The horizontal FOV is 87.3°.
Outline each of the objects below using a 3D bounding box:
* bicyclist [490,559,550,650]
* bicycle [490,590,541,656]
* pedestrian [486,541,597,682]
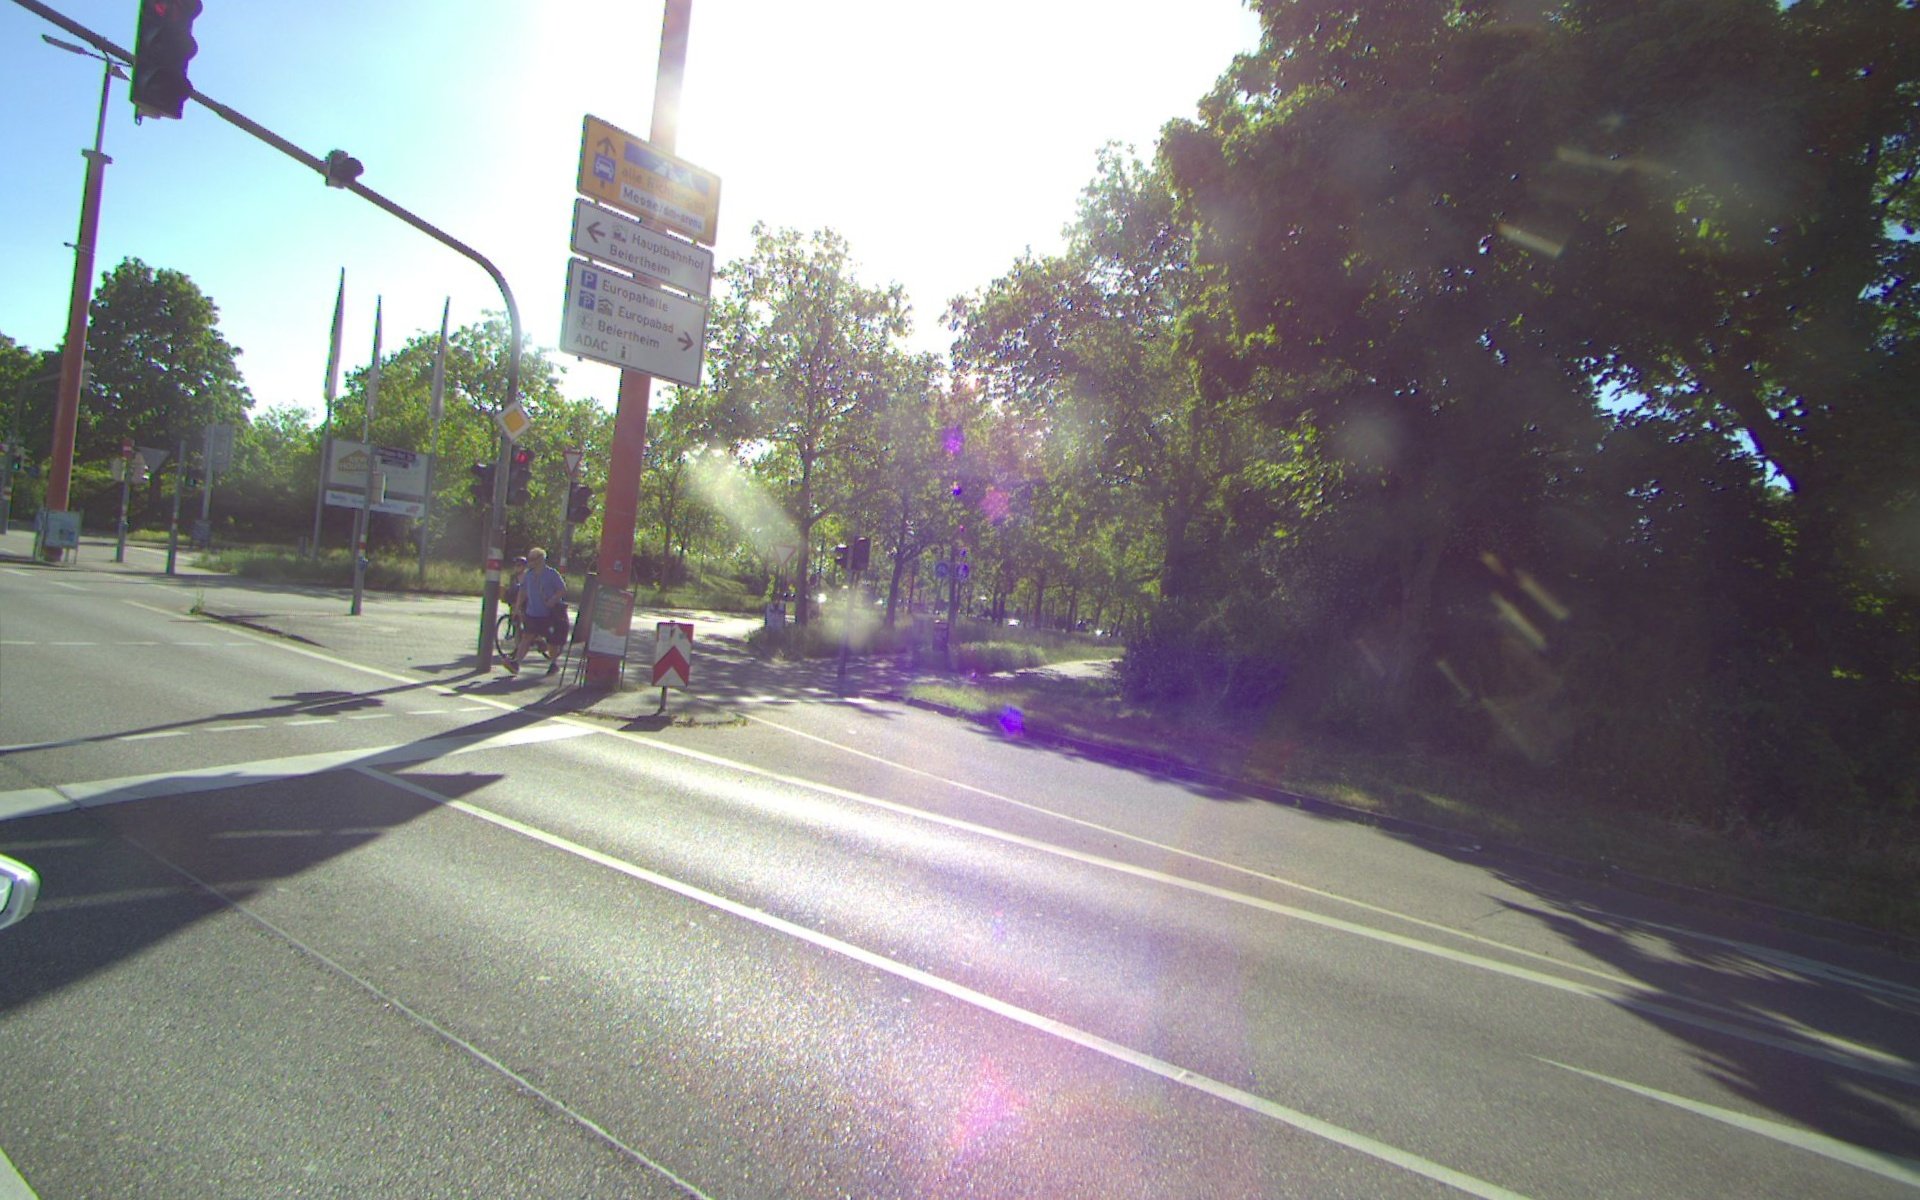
[{"bbox_3d":[-7.046,0.065,16.144,0.698,1.358,0.738,7,0,-20],"label":"bicyclist"},{"bbox_3d":[-7.130,0.345,16.211,0.552,0.889,2.158,7,-1,-21],"label":"bicycle"},{"bbox_3d":[-5.845,0.176,14.083,0.883,1.810,0.894,7,0,17],"label":"pedestrian"}]
